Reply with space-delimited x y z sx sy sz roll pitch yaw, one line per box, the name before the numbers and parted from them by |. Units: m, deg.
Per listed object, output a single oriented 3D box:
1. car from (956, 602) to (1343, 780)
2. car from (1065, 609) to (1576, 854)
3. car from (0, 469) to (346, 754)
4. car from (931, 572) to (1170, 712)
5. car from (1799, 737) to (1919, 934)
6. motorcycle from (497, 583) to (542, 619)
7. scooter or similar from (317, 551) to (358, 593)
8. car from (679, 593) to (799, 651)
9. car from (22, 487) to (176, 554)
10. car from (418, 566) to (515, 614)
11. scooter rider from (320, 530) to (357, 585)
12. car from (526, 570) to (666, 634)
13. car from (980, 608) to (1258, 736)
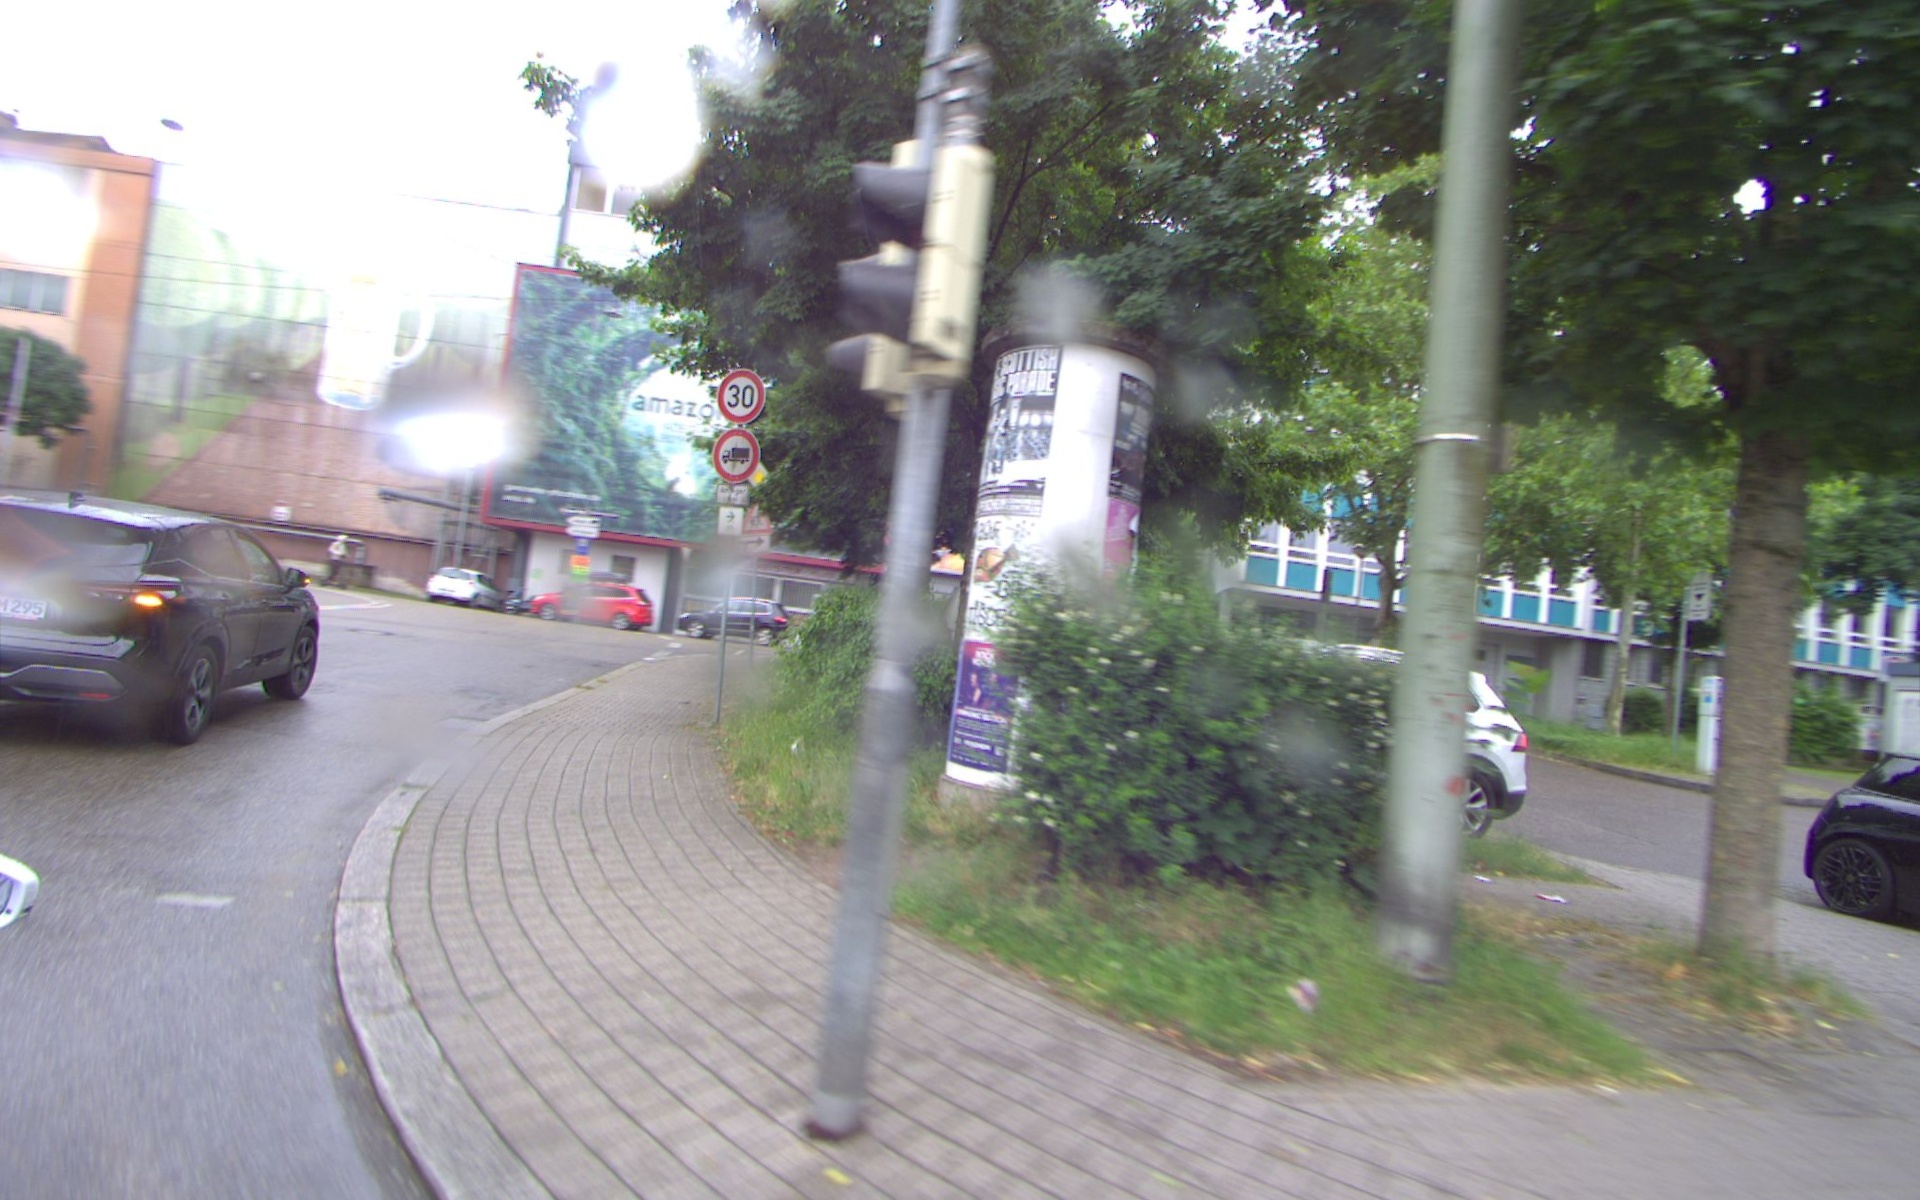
car | 2.208 1.066 12.104 4.144 1.501 1.633 8 0 -12
car | 3.300 1.195 9.474 4.144 1.641 1.633 8 0 -12
car | -6.429 0.029 7.816 1.861 1.611 3.907 8 -3 -19
car | 1.623 0.771 19.013 4.135 1.984 1.636 8 1 -2
car | 8.261 1.931 6.830 1.609 1.381 3.698 7 -2 -9
motorcycle | -16.945 0.036 38.727 1.400 1.173 0.451 8 -3 -12
scooter or similar | -22.243 -1.001 35.931 1.390 1.338 0.800 6 -1 44
car | -8.244 0.842 37.774 3.925 1.731 1.934 6 -2 0
car | -34.572 -3.175 40.439 4.823 1.634 1.862 10 -3 10
car | -19.363 -0.359 39.676 1.842 1.551 3.991 8 -1 -3
scooter rider | -22.204 -1.505 35.955 0.771 1.843 0.800 6 -1 44
car | -13.713 0.114 38.092 4.409 1.730 1.935 8 -2 0
car | 2.600 1.177 16.802 4.144 1.501 1.633 8 0 -12
